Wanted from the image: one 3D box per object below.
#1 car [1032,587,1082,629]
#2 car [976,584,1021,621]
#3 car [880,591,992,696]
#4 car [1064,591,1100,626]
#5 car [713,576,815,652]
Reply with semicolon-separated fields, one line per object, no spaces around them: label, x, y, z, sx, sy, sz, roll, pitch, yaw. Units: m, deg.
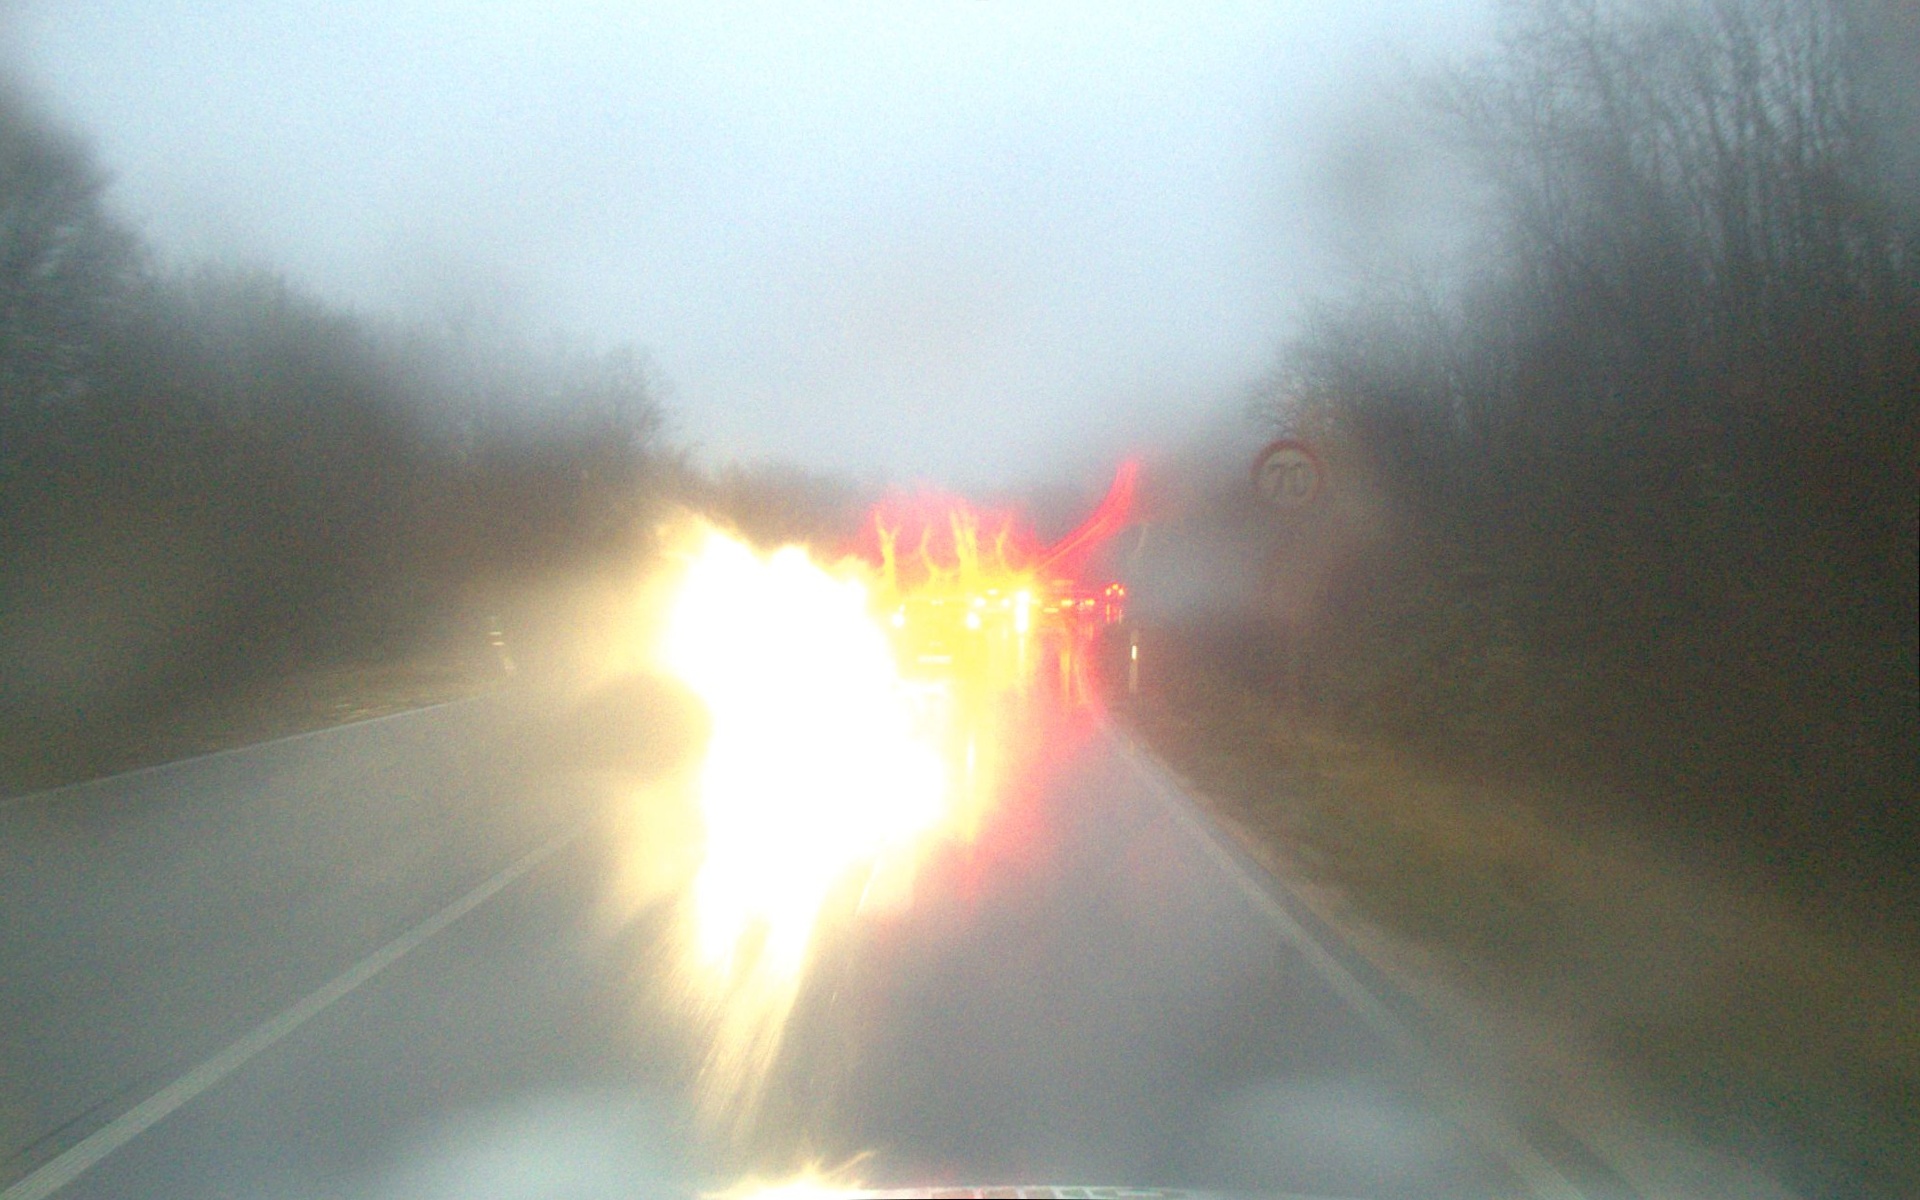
car;3.558;0.275;60.958;1.644;1.413;4.099;1;1;1
car;1.800;0.101;78.917;1.964;1.583;4.517;2;1;0
car;-0.419;0.639;26.830;1.599;1.445;4.170;3;1;-2
car;6.508;0.432;88.506;1.644;1.704;4.099;1;1;1
car;-4.189;0.258;35.904;1.728;1.523;4.102;2;1;0
